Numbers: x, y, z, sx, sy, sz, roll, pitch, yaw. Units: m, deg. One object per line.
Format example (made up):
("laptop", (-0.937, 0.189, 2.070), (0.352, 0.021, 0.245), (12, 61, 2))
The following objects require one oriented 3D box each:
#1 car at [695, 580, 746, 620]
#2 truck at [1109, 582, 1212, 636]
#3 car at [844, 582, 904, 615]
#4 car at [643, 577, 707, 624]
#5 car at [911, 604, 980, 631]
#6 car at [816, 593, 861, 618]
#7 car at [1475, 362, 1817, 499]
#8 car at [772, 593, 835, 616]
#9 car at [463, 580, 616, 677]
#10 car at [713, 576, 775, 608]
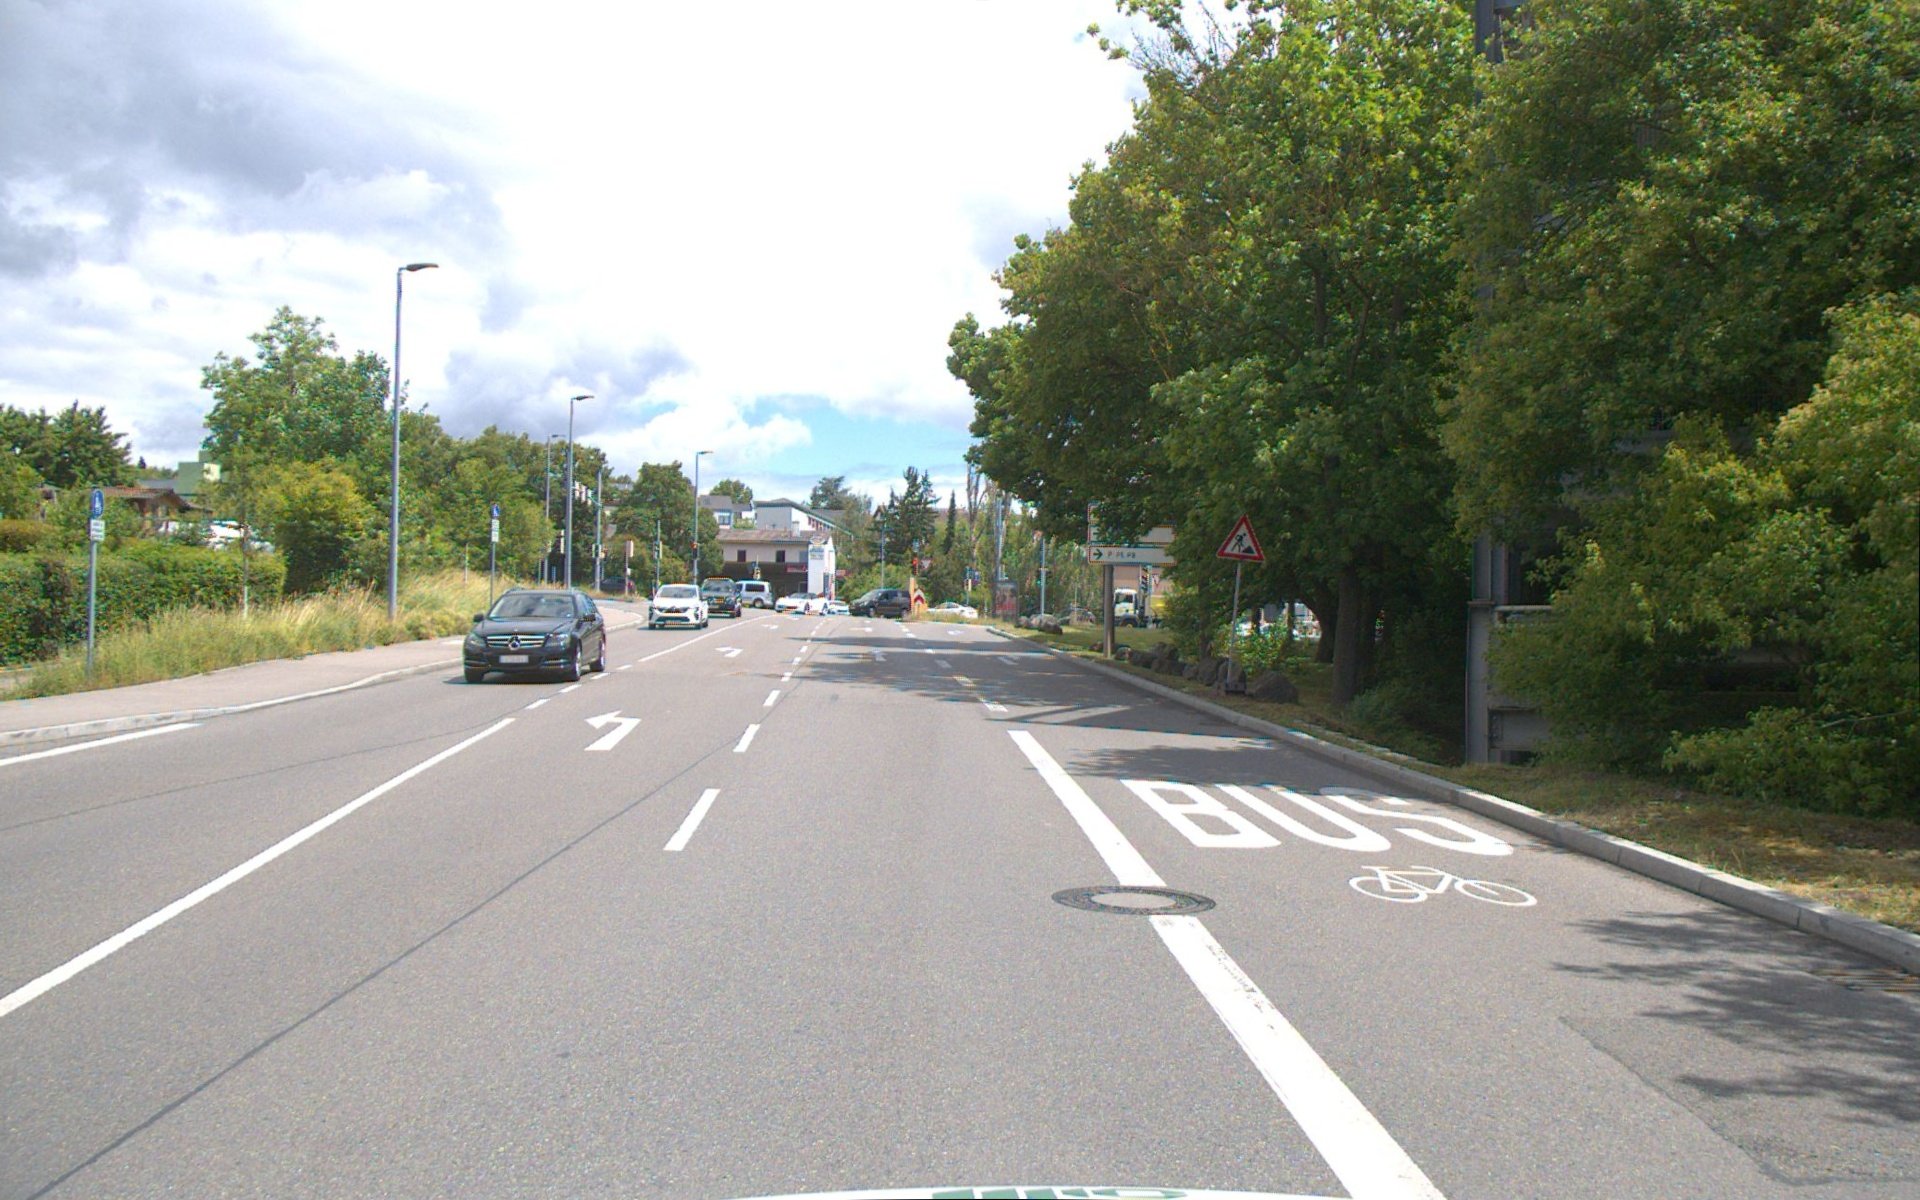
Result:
("car", (-10.415, -0.010, 72.088), (1.785, 1.683, 4.530), (0, 0, -3))
("truck", (13.937, 0.631, 115.313), (6.802, 3.642, 2.846), (-1, -1, 0))
("car", (-5.347, -0.076, 103.327), (1.749, 1.810, 4.808), (1, -2, 24))
("car", (-9.400, 0.020, 54.737), (1.731, 1.467, 3.896), (0, 0, -5))
("car", (-1.054, 1.283, 120.183), (4.698, 1.810, 1.790), (1, -2, 23))
("car", (-9.688, 0.463, 131.781), (1.883, 1.892, 3.764), (0, -1, -34))
("car", (8.121, -1.969, 19.794), (3.616, 1.436, 1.659), (1, 1, 22))
("car", (-9.002, 0.280, 95.652), (1.865, 1.314, 4.610), (0, 0, 20))
("car", (-6.840, 0.430, 27.329), (1.731, 1.467, 4.373), (0, 0, -5))
("car", (-14.638, -0.516, 112.092), (3.906, 2.049, 1.999), (-1, -1, -1))
